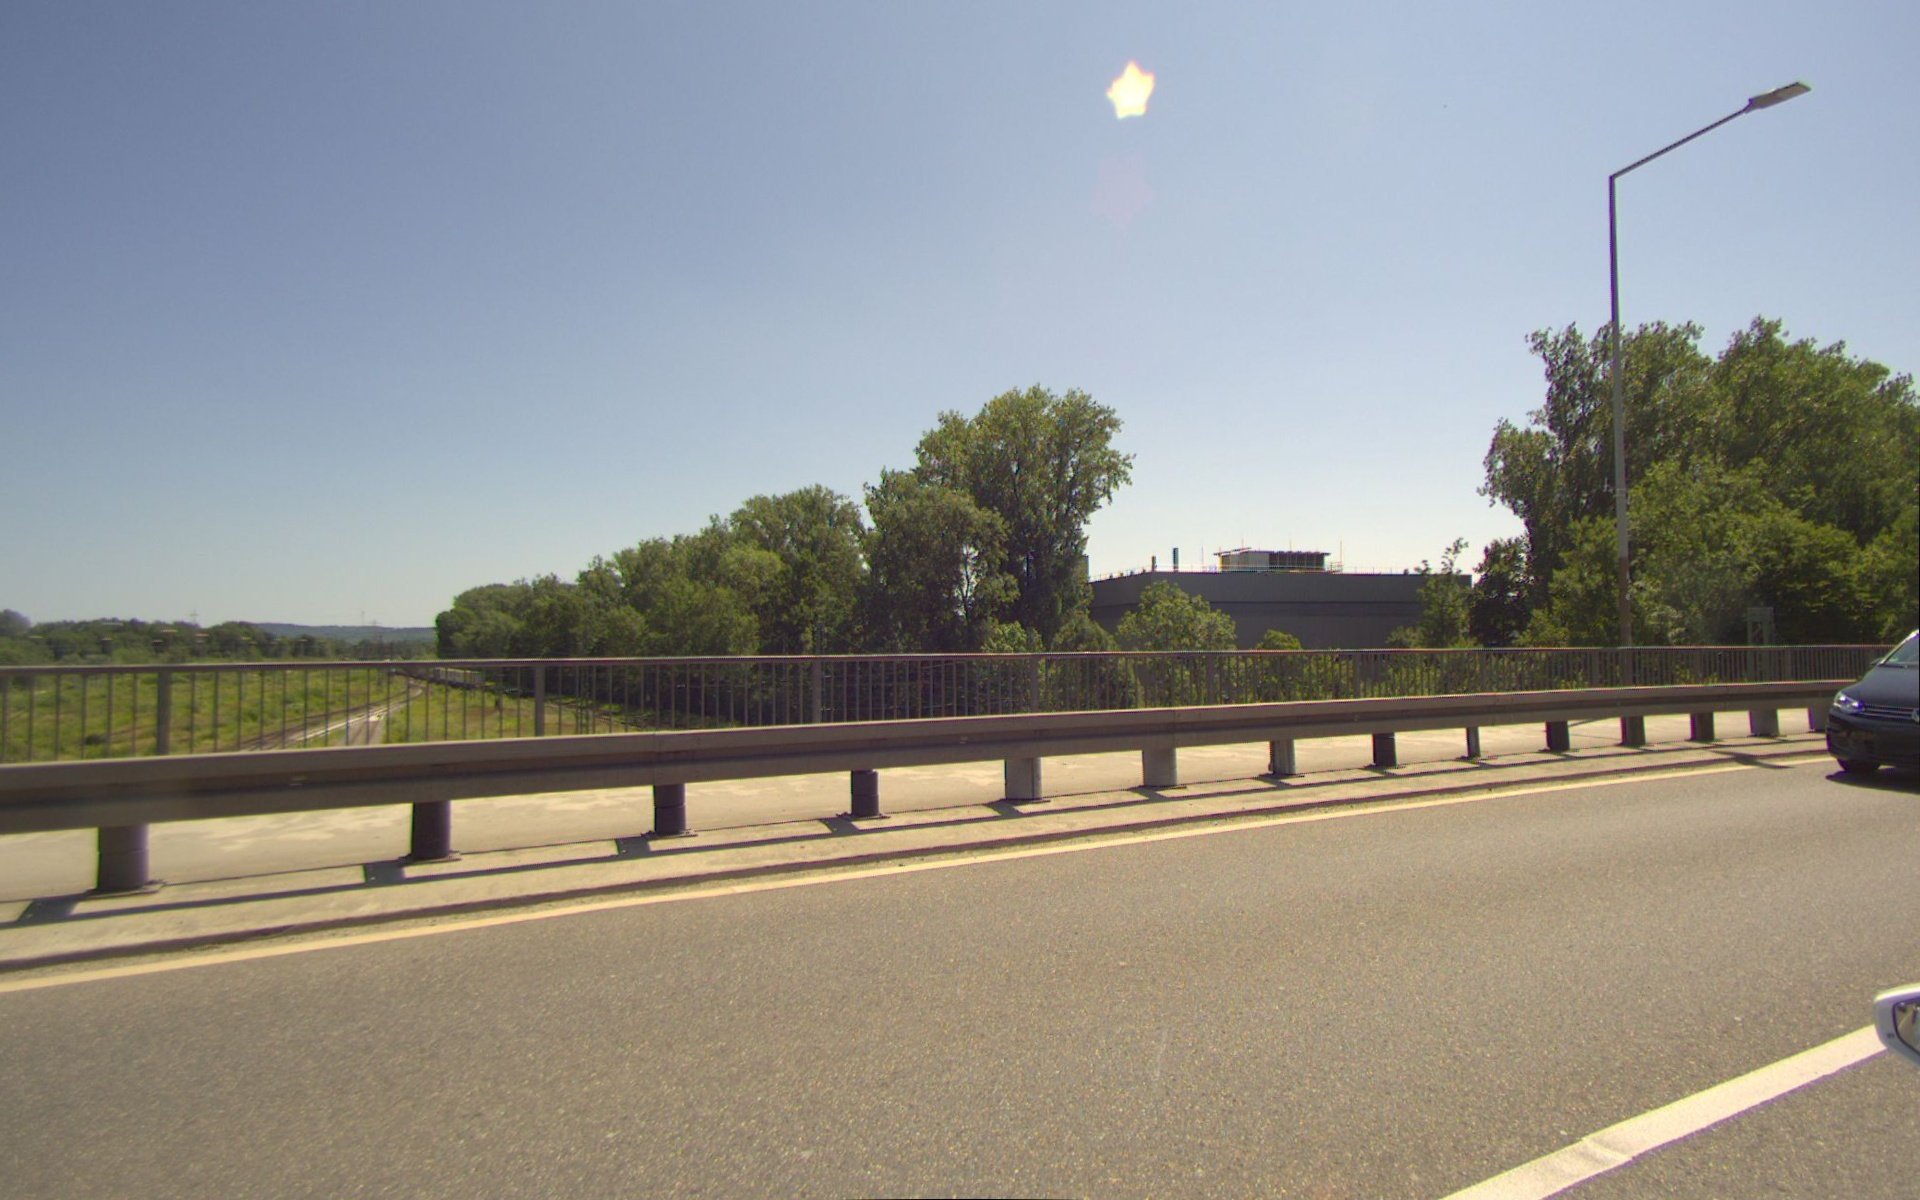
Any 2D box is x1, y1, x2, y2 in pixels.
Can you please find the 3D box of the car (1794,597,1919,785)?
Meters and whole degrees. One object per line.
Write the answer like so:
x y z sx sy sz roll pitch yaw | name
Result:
10.319 0.831 9.744 4.194 1.647 1.768 1 -1 -24 | car
